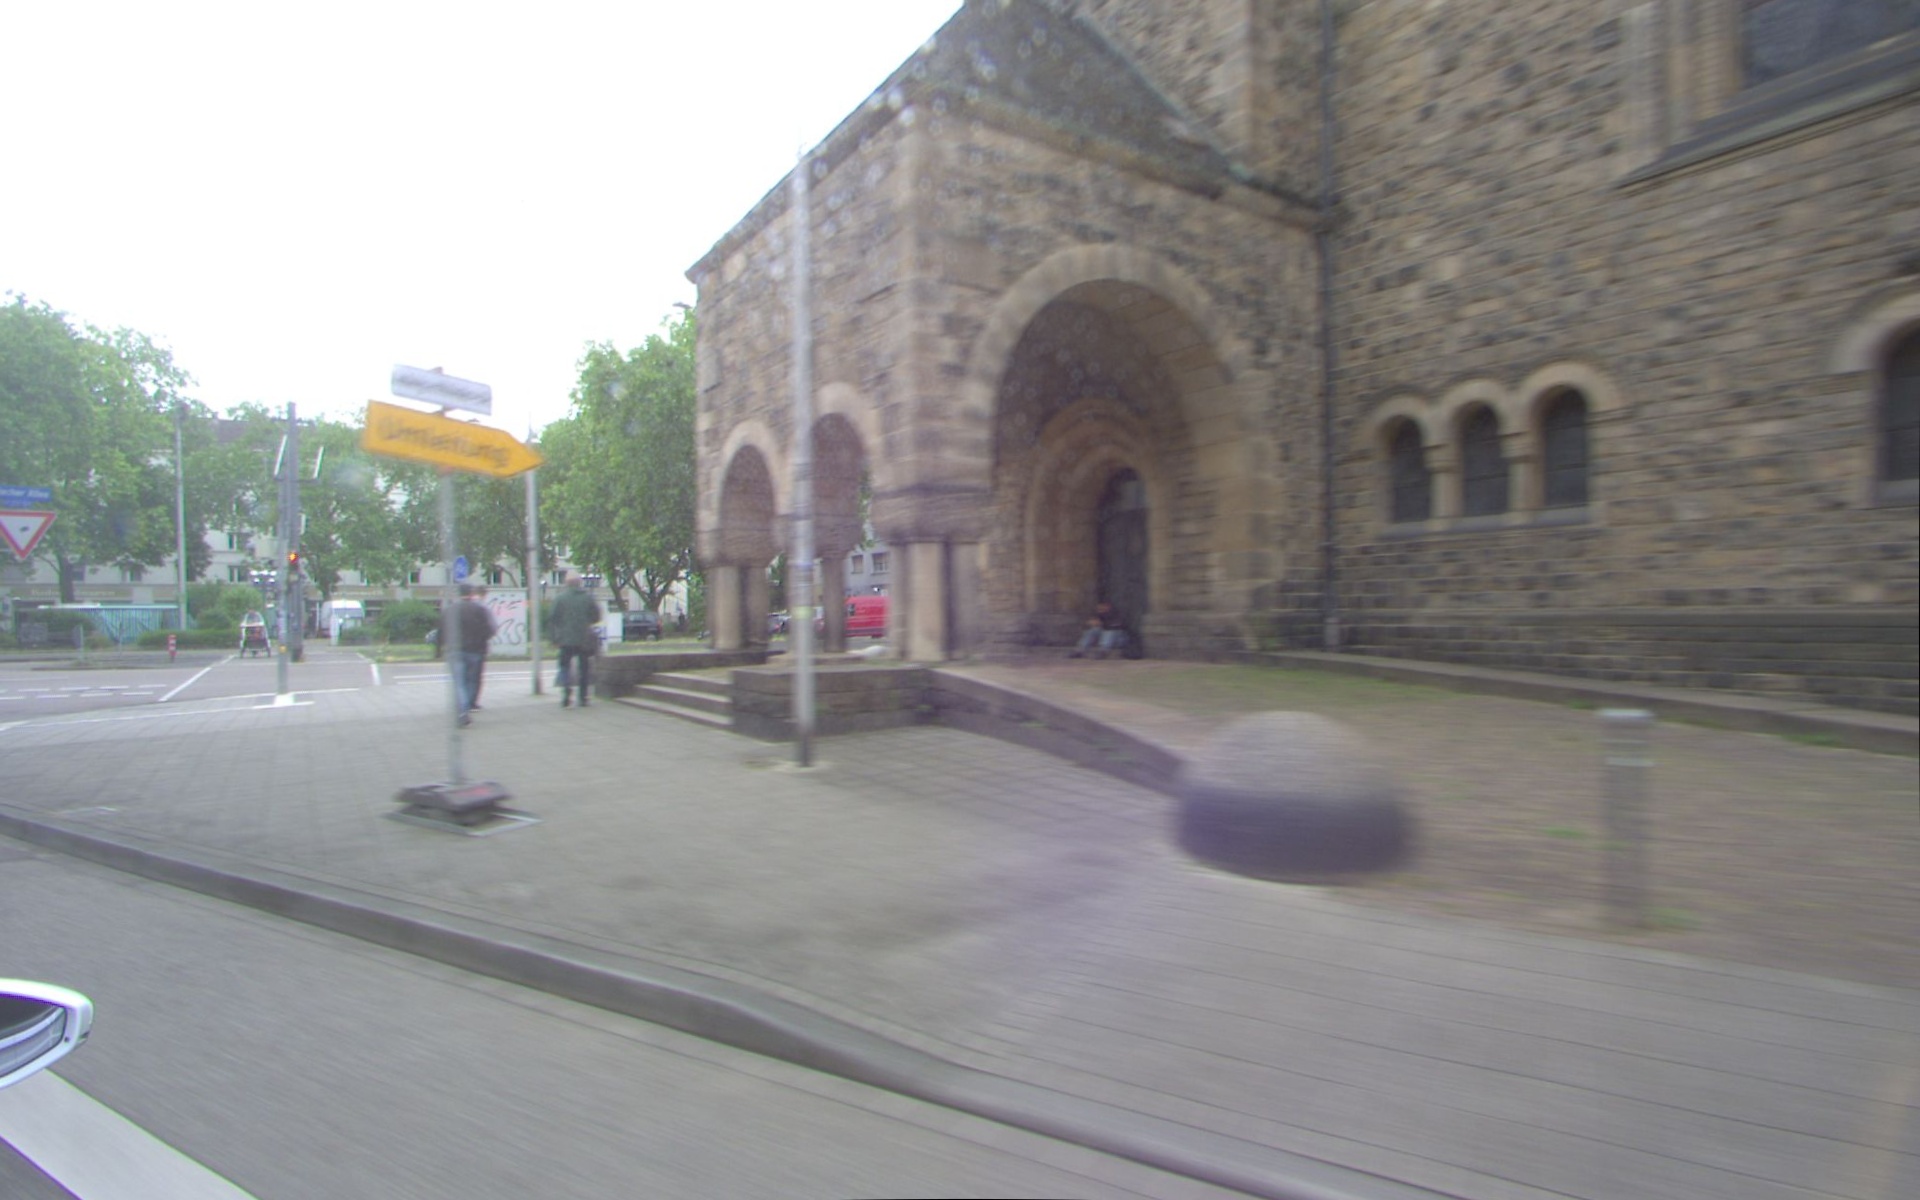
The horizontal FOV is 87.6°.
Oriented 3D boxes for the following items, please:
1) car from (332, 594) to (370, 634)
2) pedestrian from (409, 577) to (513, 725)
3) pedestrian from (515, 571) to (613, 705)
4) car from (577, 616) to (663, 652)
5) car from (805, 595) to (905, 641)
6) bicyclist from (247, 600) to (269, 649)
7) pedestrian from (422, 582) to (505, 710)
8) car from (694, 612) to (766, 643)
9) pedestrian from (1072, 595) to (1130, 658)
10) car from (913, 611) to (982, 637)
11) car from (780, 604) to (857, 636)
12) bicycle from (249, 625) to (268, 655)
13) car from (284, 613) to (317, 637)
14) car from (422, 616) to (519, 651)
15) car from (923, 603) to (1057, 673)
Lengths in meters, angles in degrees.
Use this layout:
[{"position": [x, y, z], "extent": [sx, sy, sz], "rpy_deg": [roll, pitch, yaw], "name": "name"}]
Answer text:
[{"position": [-42.704, 0.971, 70.289], "extent": [2.211, 2.674, 5.417], "rpy_deg": [0, 0, -31], "name": "car"}, {"position": [-6.029, 0.587, 12.101], "extent": [0.955, 1.709, 0.672], "rpy_deg": [0, 2, 32], "name": "pedestrian"}, {"position": [-5.493, 0.500, 13.897], "extent": [0.955, 1.783, 0.802], "rpy_deg": [0, 2, 32], "name": "pedestrian"}, {"position": [-17.441, 1.729, 51.449], "extent": [3.899, 1.734, 1.676], "rpy_deg": [0, -1, -35], "name": "car"}, {"position": [-6.106, 1.040, 58.679], "extent": [5.538, 2.572, 1.979], "rpy_deg": [0, 0, -35], "name": "car"}, {"position": [-24.573, 0.860, 35.052], "extent": [0.608, 1.676, 0.749], "rpy_deg": [-1, 0, -36], "name": "bicyclist"}, {"position": [-6.847, 0.611, 13.816], "extent": [0.957, 1.696, 0.630], "rpy_deg": [0, 3, 39], "name": "pedestrian"}, {"position": [-12.550, 1.479, 54.683], "extent": [3.422, 1.582, 1.676], "rpy_deg": [0, -1, -35], "name": "car"}, {"position": [2.208, 0.407, 15.699], "extent": [0.665, 0.964, 0.611], "rpy_deg": [-1, 0, -36], "name": "pedestrian"}, {"position": [-0.742, 1.499, 62.438], "extent": [4.096, 1.550, 1.676], "rpy_deg": [0, -1, -35], "name": "car"}, {"position": [-9.862, 1.402, 69.952], "extent": [5.022, 2.123, 1.979], "rpy_deg": [0, -1, -35], "name": "car"}, {"position": [-24.612, 1.382, 35.140], "extent": [0.546, 1.009, 2.047], "rpy_deg": [-1, 0, -35], "name": "bicycle"}, {"position": [-43.573, 1.659, 66.246], "extent": [1.647, 1.535, 3.916], "rpy_deg": [0, -1, -31], "name": "car"}, {"position": [-23.166, 1.563, 47.415], "extent": [3.938, 1.582, 1.676], "rpy_deg": [0, -1, -35], "name": "car"}, {"position": [0.655, 0.878, 24.180], "extent": [1.595, 1.550, 3.448], "rpy_deg": [-1, -1, -31], "name": "car"}]
